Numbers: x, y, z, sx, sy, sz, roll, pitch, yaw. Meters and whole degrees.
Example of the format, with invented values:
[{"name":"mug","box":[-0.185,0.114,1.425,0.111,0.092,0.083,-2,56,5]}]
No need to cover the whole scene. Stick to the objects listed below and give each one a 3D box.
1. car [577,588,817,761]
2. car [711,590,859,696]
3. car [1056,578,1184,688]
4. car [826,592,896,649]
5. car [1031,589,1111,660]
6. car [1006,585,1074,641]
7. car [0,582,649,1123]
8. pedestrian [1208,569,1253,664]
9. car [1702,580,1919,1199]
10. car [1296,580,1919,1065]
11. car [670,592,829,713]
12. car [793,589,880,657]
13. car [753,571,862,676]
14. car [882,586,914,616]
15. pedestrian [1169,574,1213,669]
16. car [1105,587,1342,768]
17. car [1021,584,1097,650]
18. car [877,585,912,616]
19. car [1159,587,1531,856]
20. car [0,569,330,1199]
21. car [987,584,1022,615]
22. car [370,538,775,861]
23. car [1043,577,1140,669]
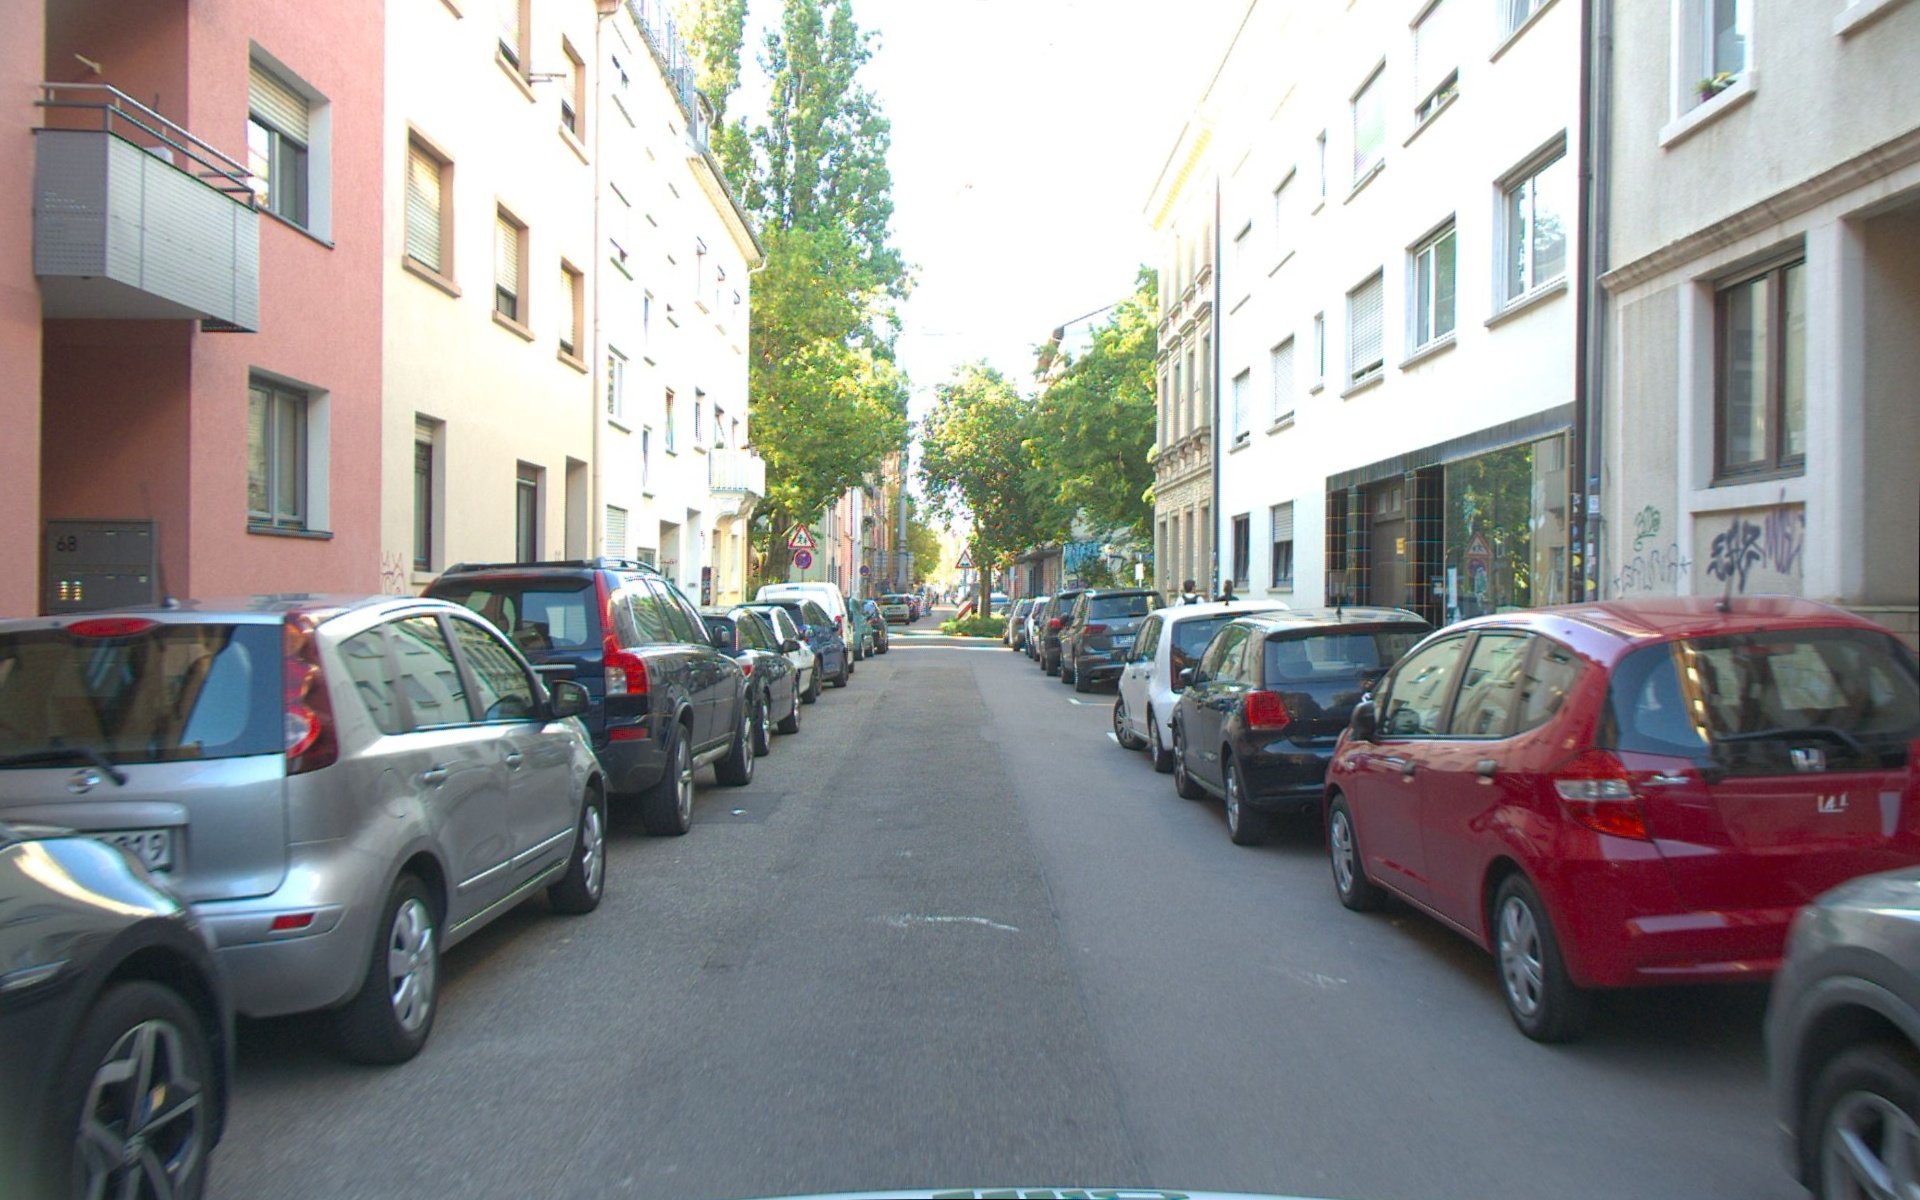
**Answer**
[{"name":"car","box":[-2.625,0.676,17.502,1.707,1.533,4.347,-2,1,1]},{"name":"car","box":[-2.760,0.642,26.921,1.638,1.512,3.994,-2,1,5]},{"name":"car","box":[2.690,0.517,28.675,1.642,1.655,4.249,-4,0,-1]},{"name":"car","box":[-2.619,0.509,44.506,1.636,1.384,4.048,-2,1,-1]},{"name":"car","box":[2.560,0.539,38.944,1.534,1.509,3.618,-2,1,-1]},{"name":"car","box":[2.288,0.338,48.056,1.642,1.513,4.094,-2,1,-1]},{"name":"car","box":[-2.533,0.731,6.832,1.622,1.547,3.945,-2,1,1]},{"name":"pedestrian","box":[4.919,0.294,30.068,0.671,1.689,0.717,-1,0,-1]},{"name":"car","box":[2.775,0.729,2.109,1.709,1.533,4.019,-2,1,-2]},{"name":"car","box":[2.789,0.701,7.509,1.566,1.533,4.183,-2,1,-1]},{"name":"car","box":[-2.770,0.642,22.528,1.639,1.412,4.181,-2,1,-1]},{"name":"car","box":[-2.956,0.516,40.328,1.635,1.495,3.822,-2,1,3]},{"name":"car","box":[-2.842,0.403,31.572,1.729,1.816,4.038,-2,1,-1]},{"name":"car","box":[-3.372,0.039,90.947,1.642,1.513,4.094,-2,1,-1]},{"name":"pedestrian","box":[4.159,0.382,29.868,0.671,1.689,0.717,-1,0,-1]},{"name":"car","box":[2.510,0.667,16.624,1.642,1.533,3.937,-2,1,-1]},{"name":"car","box":[2.529,0.400,43.155,1.642,1.588,3.795,-2,1,-1]},{"name":"car","box":[-3.372,0.017,85.526,1.642,1.513,4.094,-2,1,-1]},{"name":"car","box":[2.531,0.705,11.814,1.642,1.533,3.937,-2,1,-1]},{"name":"car","box":[-2.495,0.756,2.155,1.660,1.547,4.097,-2,1,1]},{"name":"car","box":[2.321,-0.054,87.069,1.642,1.513,3.637,-2,1,-1]},{"name":"car","box":[-2.542,0.557,12.063,1.707,1.842,4.673,-2,1,1]},{"name":"car","box":[2.627,0.442,33.783,1.641,1.711,4.095,-2,0,1]}]
